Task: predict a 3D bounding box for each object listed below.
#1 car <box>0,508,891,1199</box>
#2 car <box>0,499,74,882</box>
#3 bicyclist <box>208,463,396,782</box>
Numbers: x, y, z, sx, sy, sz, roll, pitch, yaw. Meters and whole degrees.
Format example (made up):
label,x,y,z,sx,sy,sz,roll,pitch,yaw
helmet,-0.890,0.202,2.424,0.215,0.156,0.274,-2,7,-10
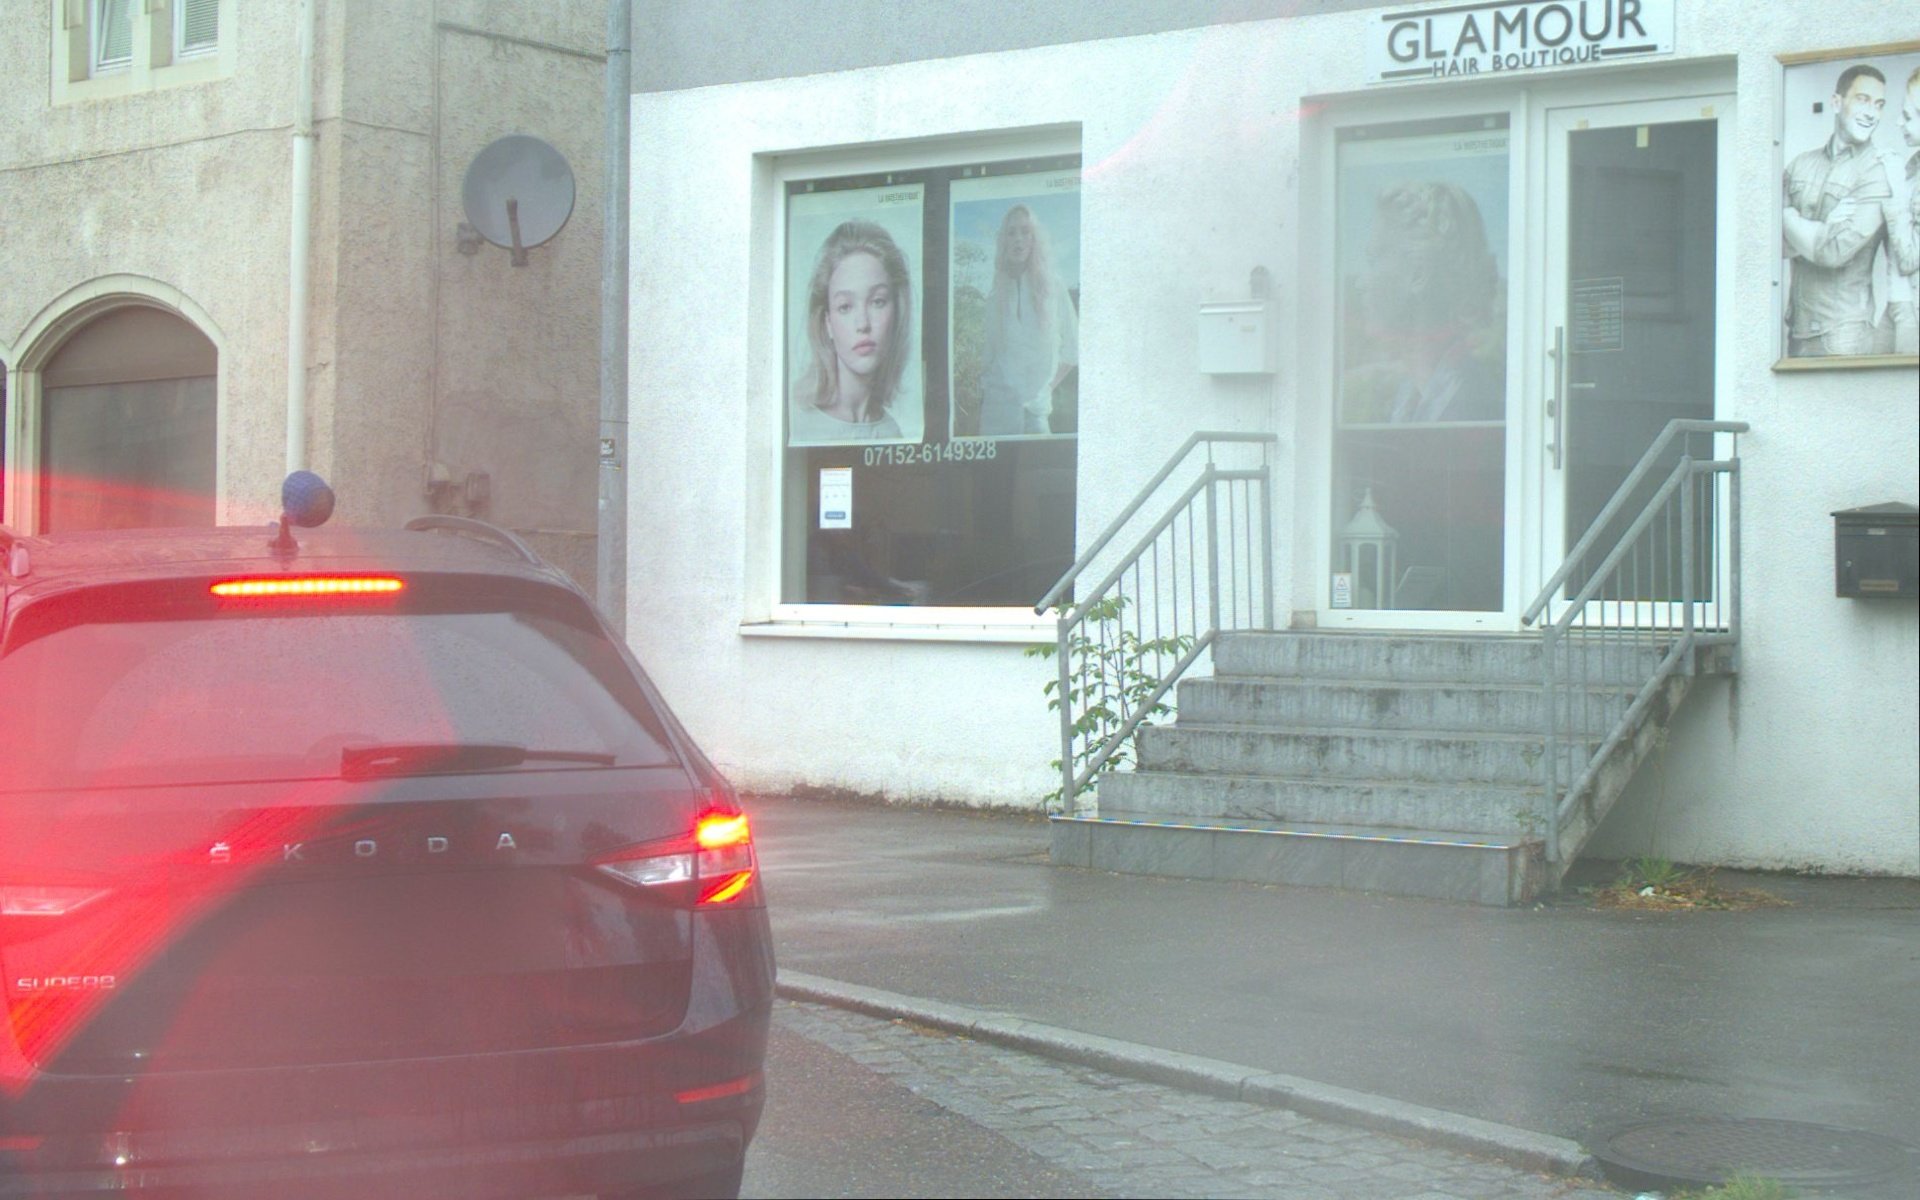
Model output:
label,x,y,z,sx,sy,sz,roll,pitch,yaw
car,-1.765,0.540,7.785,1.886,1.443,4.358,1,2,-20
car,-5.346,0.275,14.450,1.856,1.468,4.000,1,2,-35
bicyclist,-3.237,0.091,16.869,0.683,1.512,1.031,1,2,-23
